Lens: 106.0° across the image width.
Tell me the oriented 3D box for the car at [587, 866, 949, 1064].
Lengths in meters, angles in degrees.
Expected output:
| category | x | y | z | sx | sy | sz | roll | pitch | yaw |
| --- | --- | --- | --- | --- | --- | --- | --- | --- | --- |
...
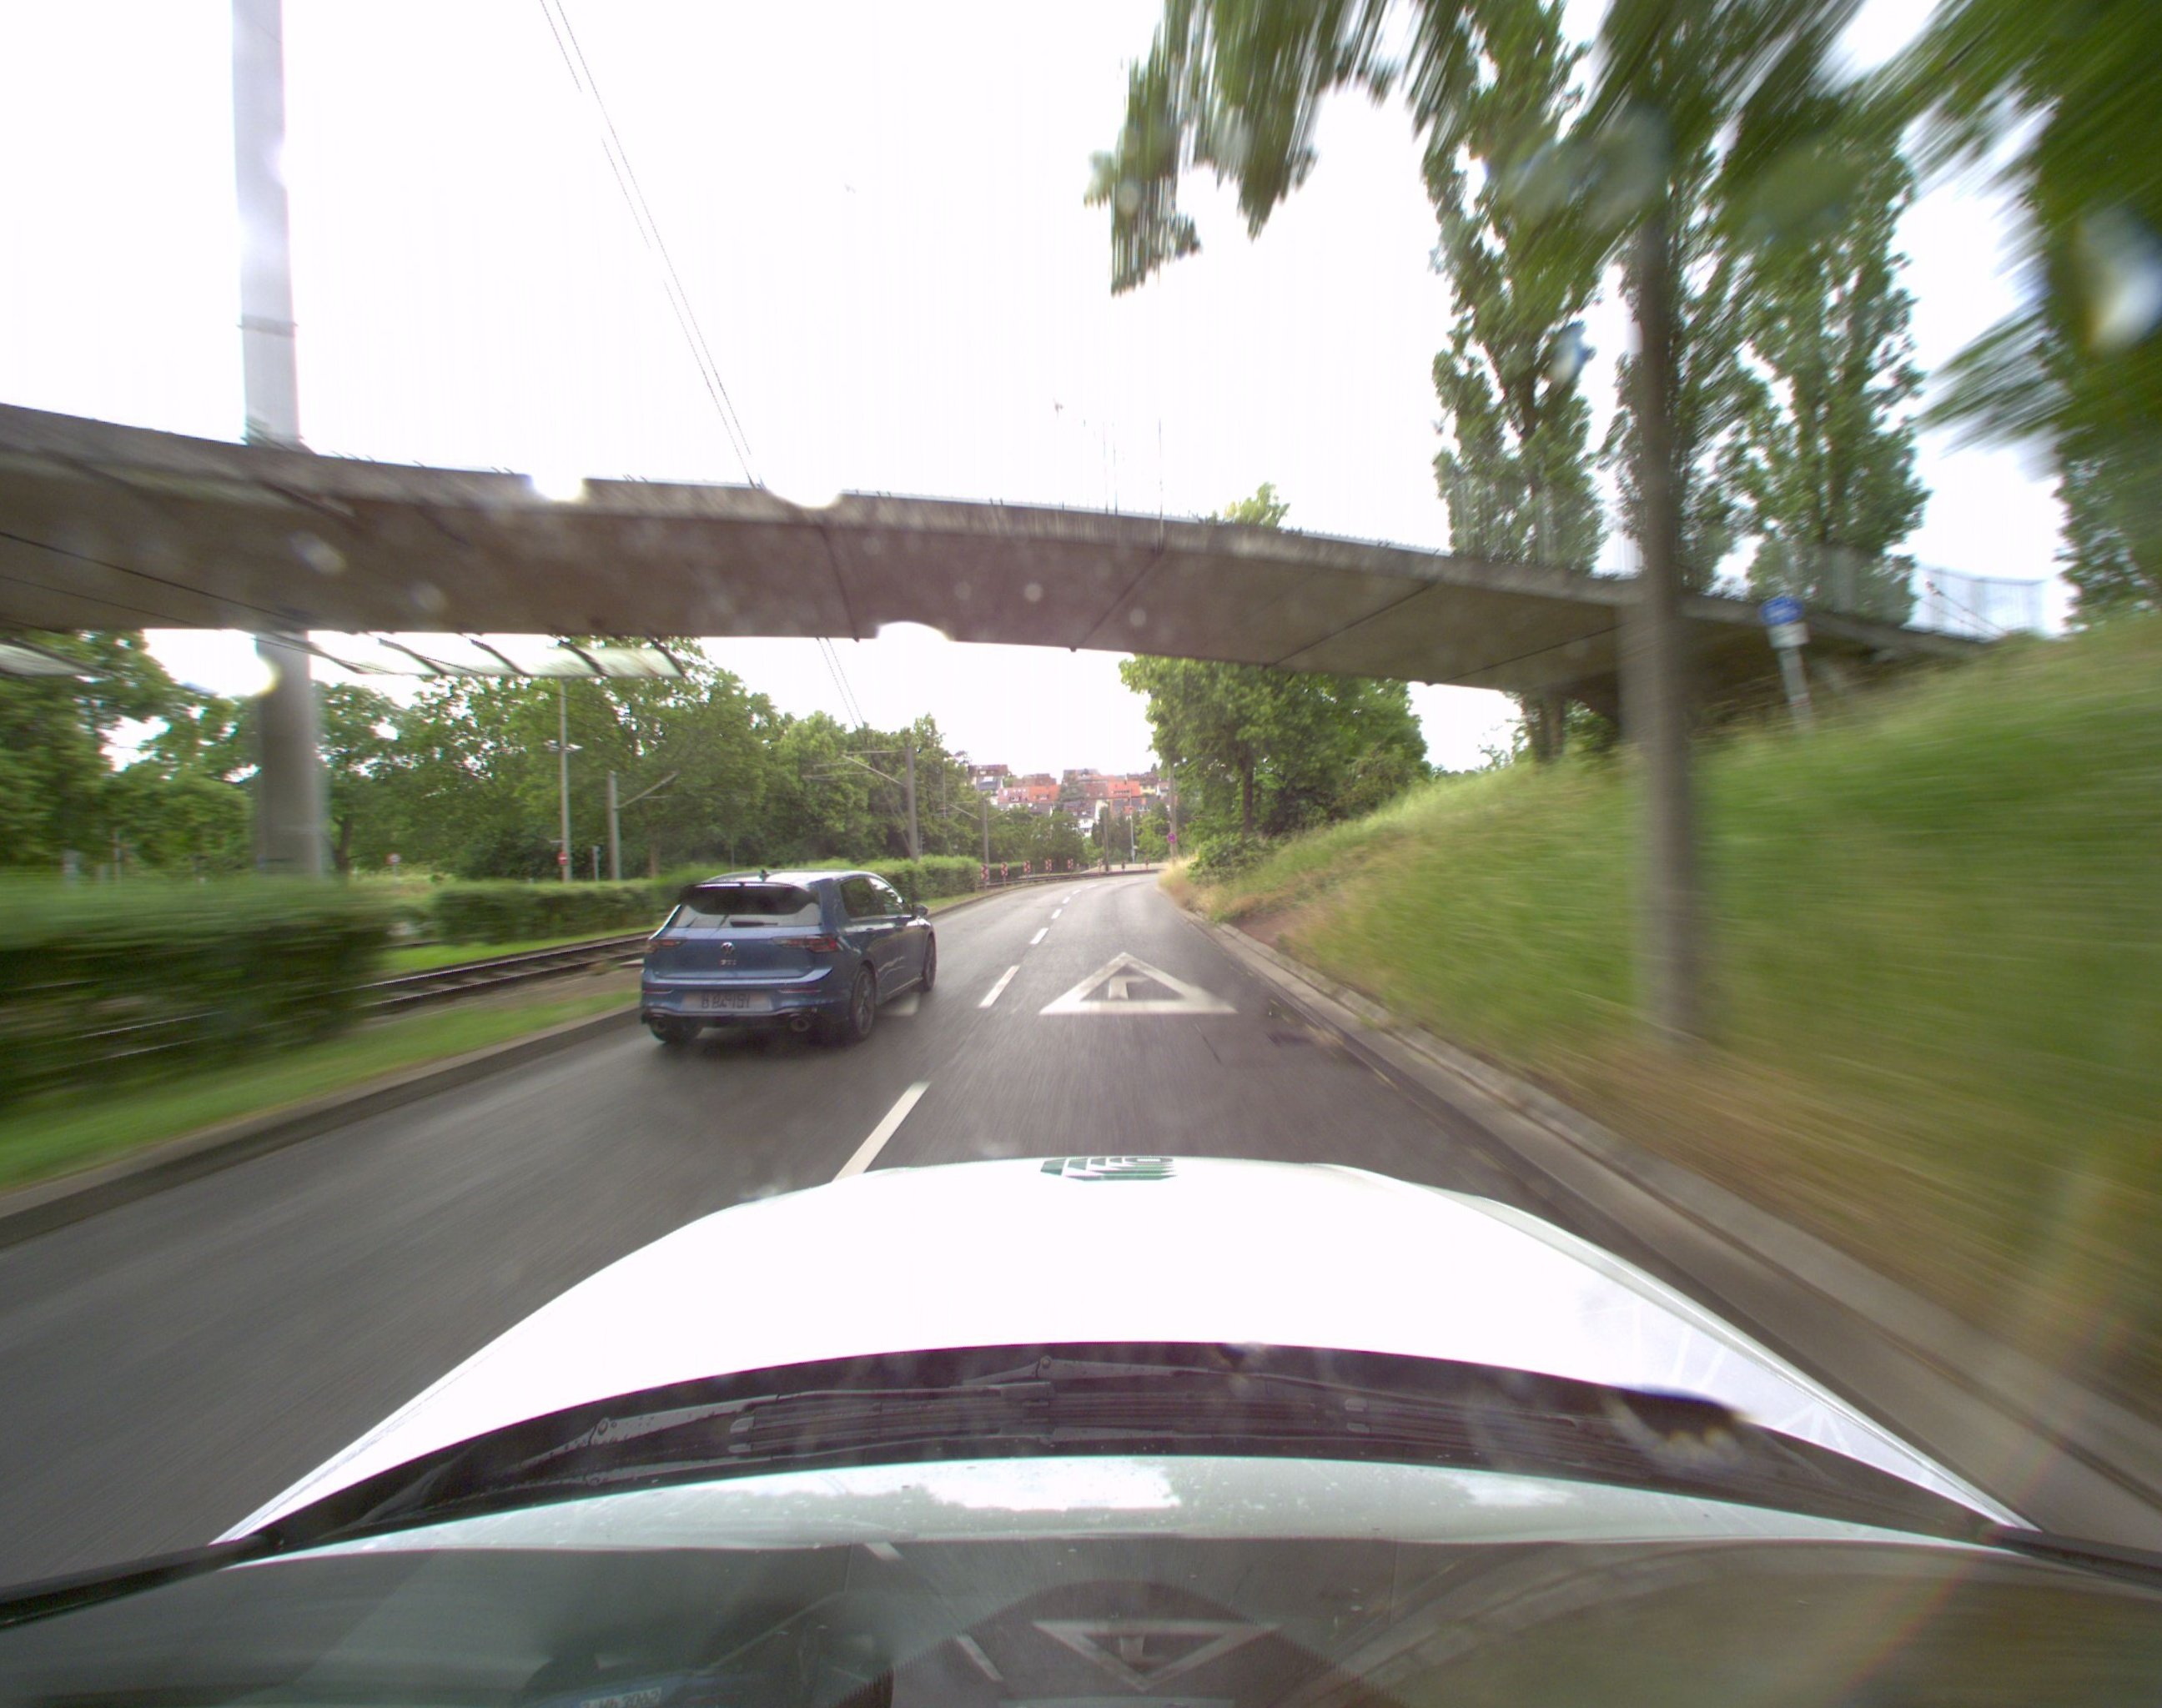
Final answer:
| category | x | y | z | sx | sy | sz | roll | pitch | yaw |
| --- | --- | --- | --- | --- | --- | --- | --- | --- | --- |
| car | -2.660 | 0.854 | 8.165 | 1.801 | 1.378 | 4.349 | -1 | 0 | 2 |
